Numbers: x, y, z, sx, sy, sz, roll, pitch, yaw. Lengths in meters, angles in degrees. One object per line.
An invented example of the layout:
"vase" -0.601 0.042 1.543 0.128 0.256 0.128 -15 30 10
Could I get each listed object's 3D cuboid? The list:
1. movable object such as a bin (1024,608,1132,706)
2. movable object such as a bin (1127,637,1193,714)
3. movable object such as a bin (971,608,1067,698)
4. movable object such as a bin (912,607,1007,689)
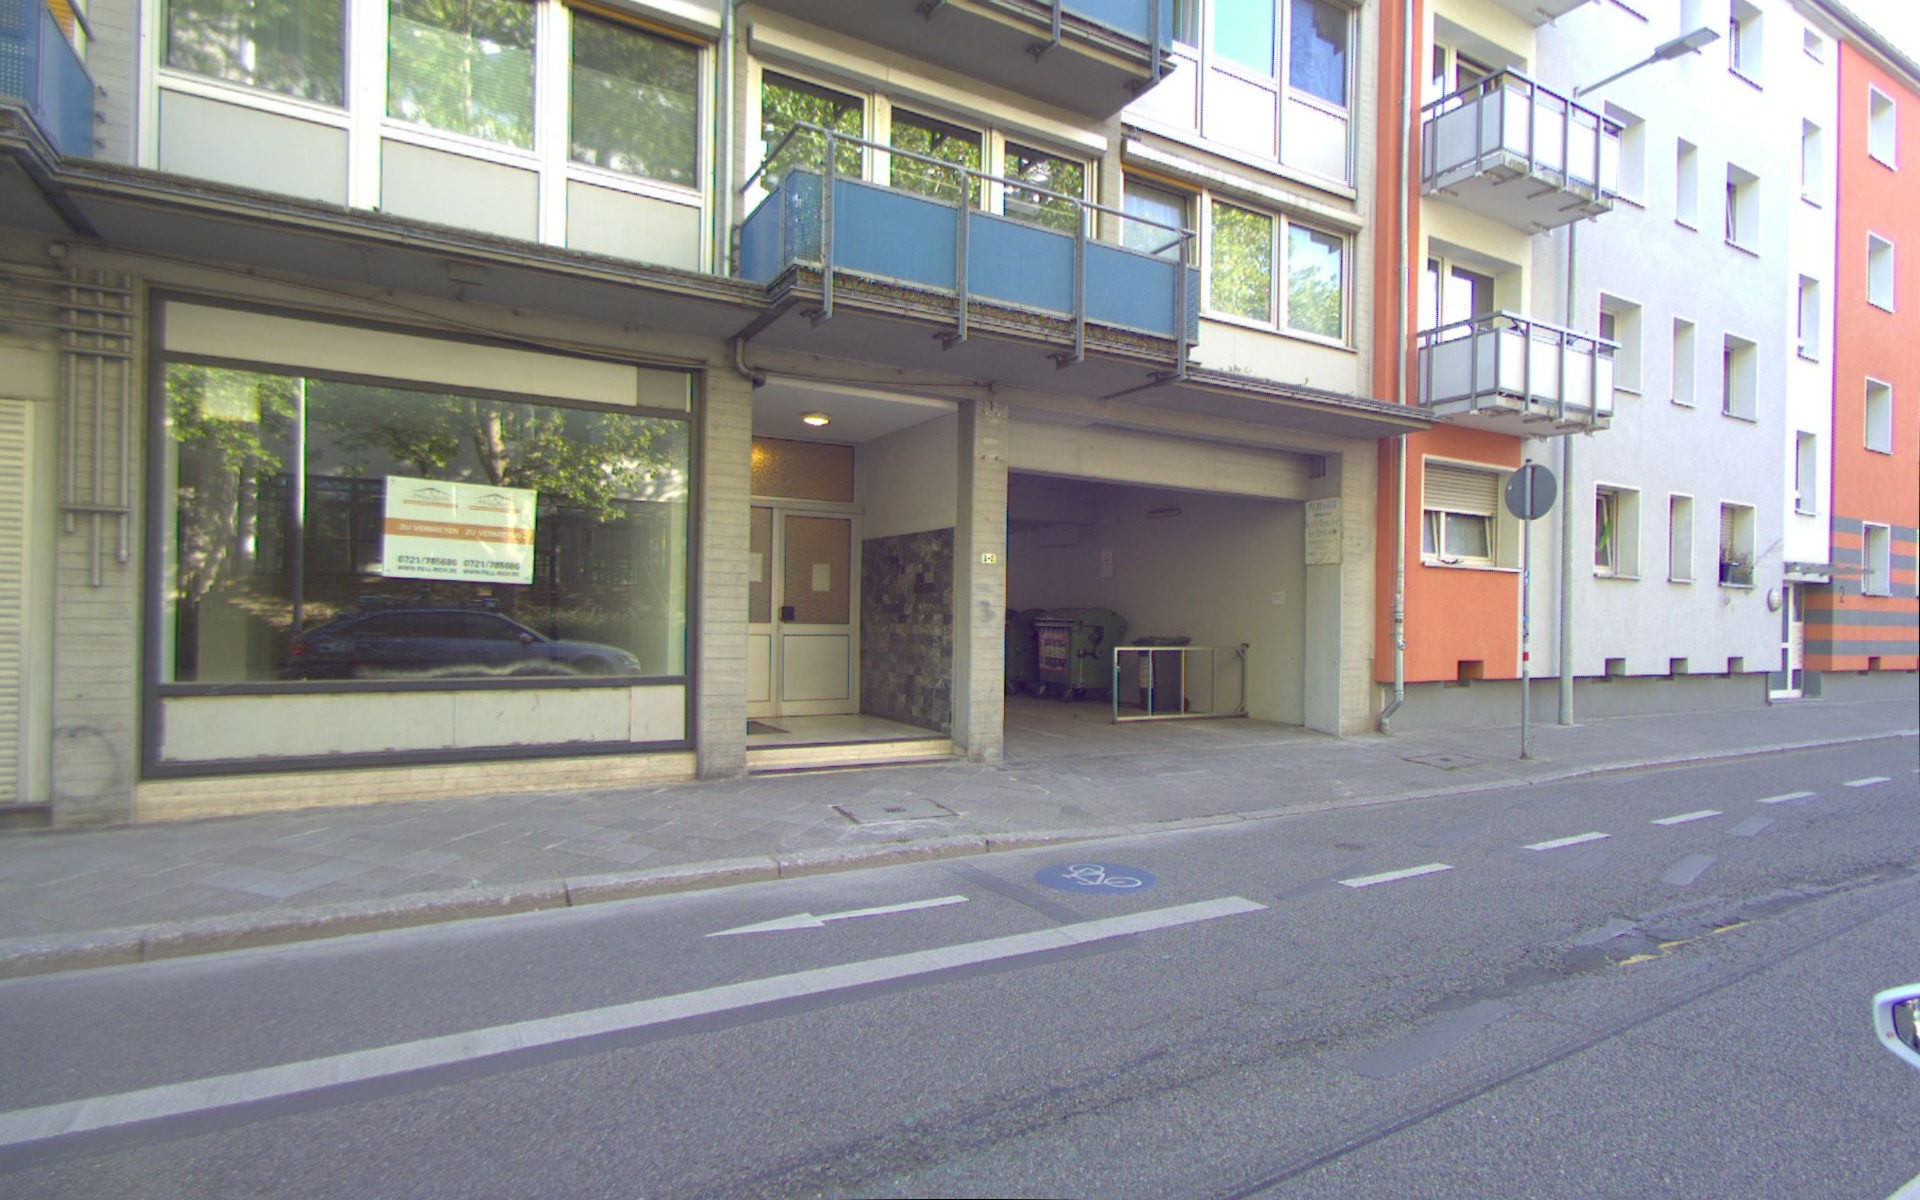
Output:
"movable object such as a bin" 1.846 0.871 15.857 1.128 1.449 1.342 1 0 -28
"movable object such as a bin" 2.896 1.083 14.538 0.695 1.055 0.593 2 0 -30
"movable object such as a bin" 0.995 0.877 17.179 1.119 1.449 1.322 1 0 -28
"movable object such as a bin" -0.033 0.875 18.882 1.119 1.449 1.666 1 -1 -28
